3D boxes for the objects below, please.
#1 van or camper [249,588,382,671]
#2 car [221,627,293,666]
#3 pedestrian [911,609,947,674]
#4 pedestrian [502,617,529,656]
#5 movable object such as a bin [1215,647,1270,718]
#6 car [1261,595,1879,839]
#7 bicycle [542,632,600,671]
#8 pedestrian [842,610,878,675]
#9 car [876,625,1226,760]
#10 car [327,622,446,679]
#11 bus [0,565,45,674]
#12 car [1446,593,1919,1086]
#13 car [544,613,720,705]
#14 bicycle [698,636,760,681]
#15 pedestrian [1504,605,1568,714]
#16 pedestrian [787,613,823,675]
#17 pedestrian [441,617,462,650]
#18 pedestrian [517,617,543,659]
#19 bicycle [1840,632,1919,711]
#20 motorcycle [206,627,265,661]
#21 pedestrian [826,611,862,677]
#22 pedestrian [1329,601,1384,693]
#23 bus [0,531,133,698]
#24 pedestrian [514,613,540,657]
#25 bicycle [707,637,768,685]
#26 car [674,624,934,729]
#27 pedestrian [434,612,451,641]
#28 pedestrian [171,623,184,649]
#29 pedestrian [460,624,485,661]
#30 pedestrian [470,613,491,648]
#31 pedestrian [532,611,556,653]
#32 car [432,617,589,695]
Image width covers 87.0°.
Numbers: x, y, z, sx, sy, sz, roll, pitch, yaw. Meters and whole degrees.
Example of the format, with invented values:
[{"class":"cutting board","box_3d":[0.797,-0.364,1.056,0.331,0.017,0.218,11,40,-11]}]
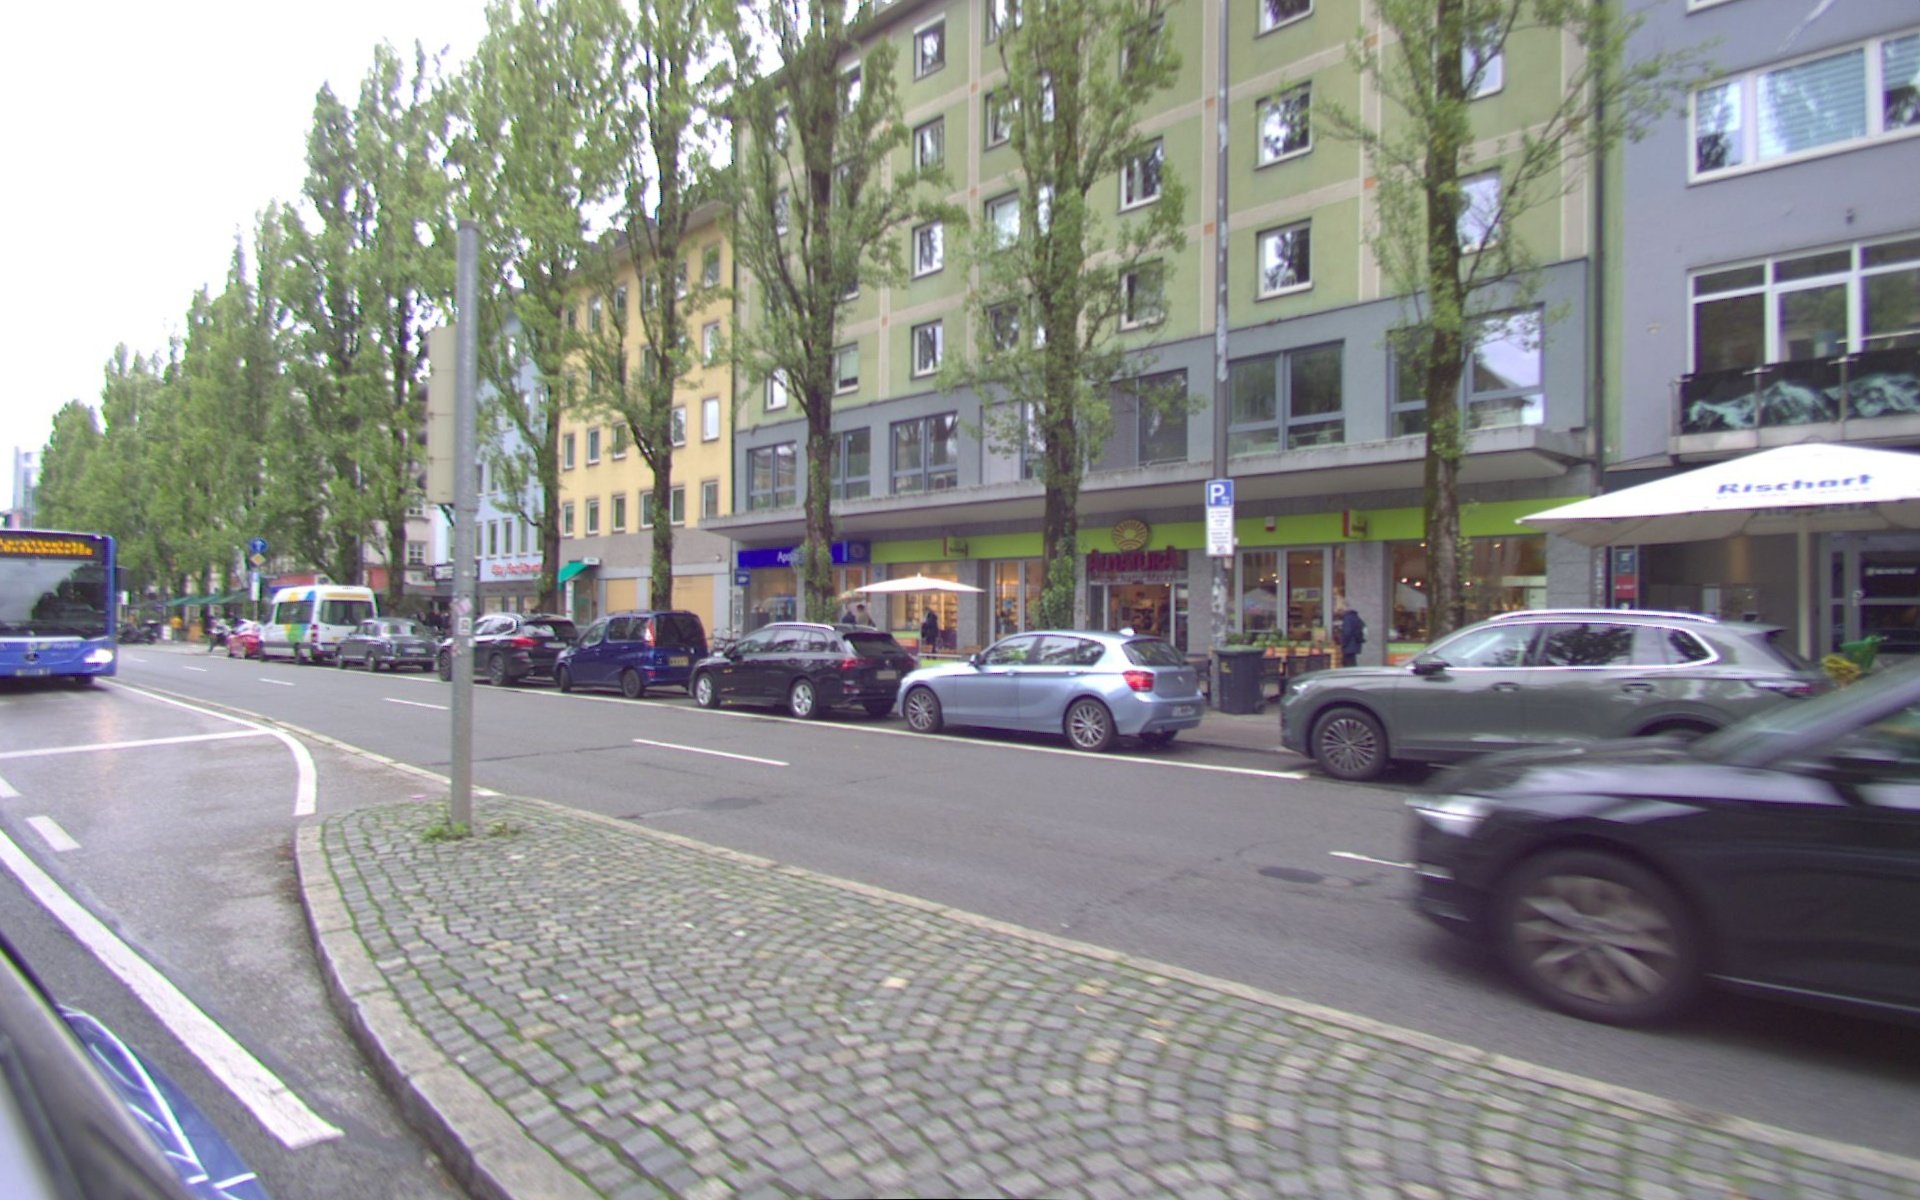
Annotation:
[{"class":"van or camper","box_3d":[-22.144,1.021,34.618,6.643,2.570,2.102,-1,-4,43]},{"class":"car","box_3d":[-27.255,1.751,39.189,3.761,1.422,1.538,-1,-2,43]},{"class":"pedestrian","box_3d":[-0.854,1.147,28.037,0.716,1.768,0.713,-1,-2,43]},{"class":"pedestrian","box_3d":[-17.051,1.387,38.805,0.550,1.449,0.759,-1,-2,37]},{"class":"movable object such as a bin","box_3d":[4.380,1.261,15.719,0.654,1.055,0.729,0,-1,3]},{"class":"car","box_3d":[5.299,0.858,9.273,4.587,1.693,1.760,-1,-3,44]},{"class":"bicycle","box_3d":[-11.750,1.541,30.589,0.358,1.124,1.657,-1,-2,42]},{"class":"pedestrian","box_3d":[-2.822,1.197,28.640,0.716,1.808,0.739,-1,-2,43]},{"class":"car","box_3d":[1.041,1.072,13.123,4.399,1.428,1.640,-1,-2,41]},{"class":"car","box_3d":[-16.963,1.439,29.878,4.258,1.541,1.685,-1,-2,41]},{"class":"bus","box_3d":[-30.683,0.625,31.007,12.857,2.925,2.769,-1,-2,43]},{"class":"car","box_3d":[3.974,0.749,3.244,4.049,1.476,1.738,-1,-3,42]},{"class":"car","box_3d":[-6.726,1.148,20.592,3.768,1.699,1.601,0,-3,40]},{"class":"bicycle","box_3d":[-5.924,1.489,26.026,0.361,1.124,1.657,-1,-2,42]},{"class":"pedestrian","box_3d":[9.668,0.971,16.983,0.756,1.768,0.809,-1,-2,43]},{"class":"pedestrian","box_3d":[-4.256,1.205,27.789,0.712,1.663,0.713,-1,-2,43]},{"class":"pedestrian","box_3d":[-22.578,1.472,44.919,0.550,1.449,0.641,-1,-2,37]},{"class":"pedestrian","box_3d":[-17.076,1.495,40.176,0.712,1.663,0.713,-1,-2,43]},{"class":"bicycle","box_3d":[13.640,1.011,14.404,1.575,1.105,0.612,-1,-2,31]},{"class":"motorcycle","box_3d":[-31.410,1.878,43.920,0.569,1.432,2.000,-1,-2,35]},{"class":"pedestrian","box_3d":[-3.229,1.204,28.172,0.716,1.808,0.739,-1,-2,43]},{"class":"pedestrian","box_3d":[7.452,0.872,19.034,0.756,1.685,0.701,-1,-2,43]},{"class":"bus","box_3d":[-21.227,0.365,22.302,12.855,2.925,2.769,-1,-2,42]},{"class":"pedestrian","box_3d":[-17.542,1.416,41.007,0.723,1.779,0.723,-1,-2,41]},{"class":"bicycle","box_3d":[-5.637,1.527,25.709,0.286,1.159,1.635,-1,-2,42]},{"class":"car","box_3d":[-2.654,1.133,16.497,4.585,1.457,1.685,-1,-2,42]},{"class":"pedestrian","box_3d":[-25.418,1.301,49.703,0.551,1.449,0.601,-1,-2,42]},{"class":"pedestrian","box_3d":[-48.585,2.246,62.833,0.600,1.601,0.552,1,-2,-37]},{"class":"pedestrian","box_3d":[-19.142,1.671,39.737,0.672,1.449,0.607,0,-1,15]},{"class":"pedestrian","box_3d":[-23.107,1.461,48.763,0.706,1.663,0.713,-1,-2,43]},{"class":"pedestrian","box_3d":[-17.105,1.325,41.596,0.724,1.717,0.632,-1,-2,42]},{"class":"car","box_3d":[-10.650,1.258,23.809,4.502,1.645,1.685,-1,-2,42]}]
